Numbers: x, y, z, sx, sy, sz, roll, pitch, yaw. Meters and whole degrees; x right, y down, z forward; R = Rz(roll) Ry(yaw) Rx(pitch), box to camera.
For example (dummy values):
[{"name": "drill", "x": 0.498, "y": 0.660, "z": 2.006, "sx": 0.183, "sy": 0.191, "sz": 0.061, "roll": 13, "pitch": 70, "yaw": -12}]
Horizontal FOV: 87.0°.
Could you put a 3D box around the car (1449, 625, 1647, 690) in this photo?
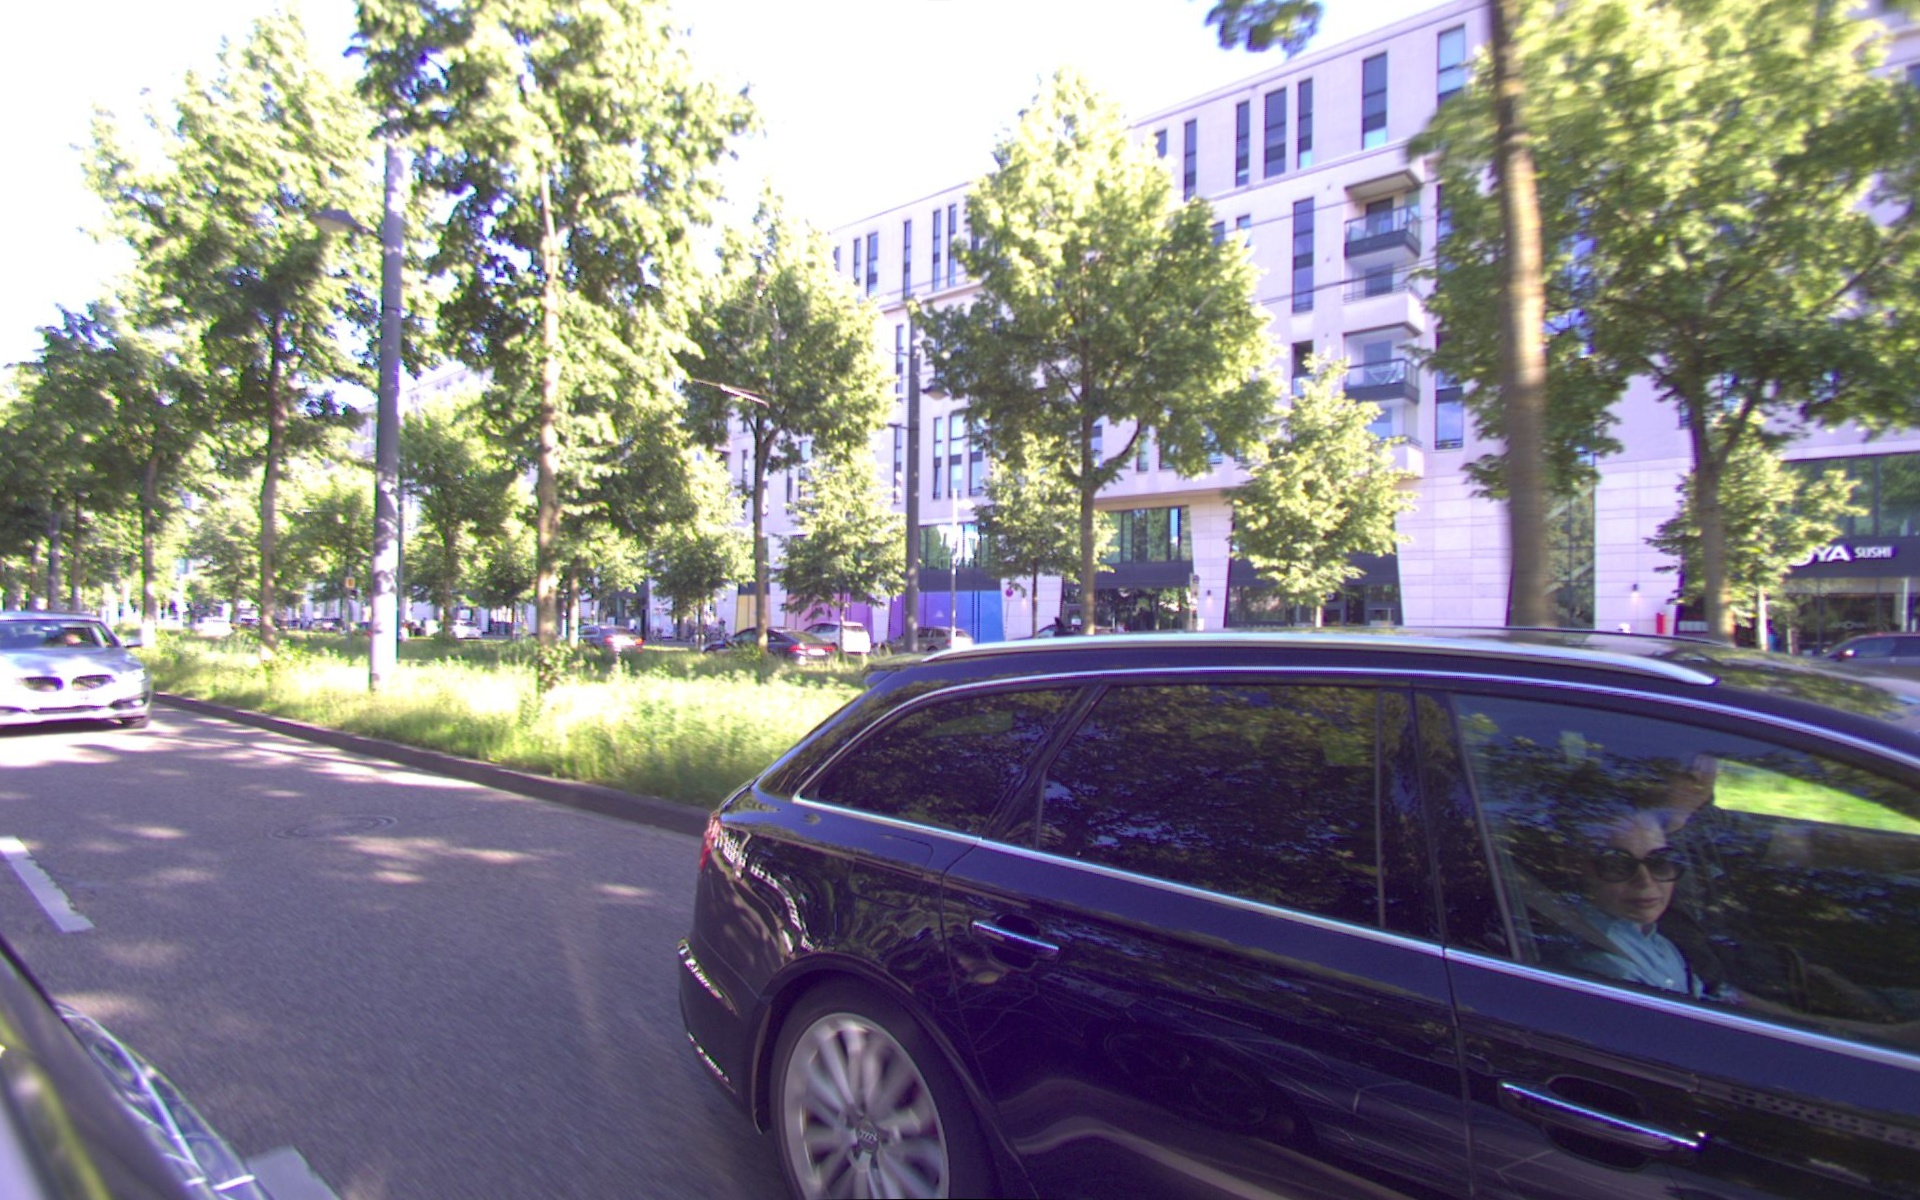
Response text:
[{"name": "car", "x": 15.504, "y": 1.452, "z": 26.813, "sx": 4.264, "sy": 1.452, "sz": 1.937, "roll": 0, "pitch": 0, "yaw": 42}]

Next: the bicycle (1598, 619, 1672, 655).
[{"name": "bicycle", "x": 20.071, "y": 1.080, "z": 30.113, "sx": 1.800, "sy": 1.024, "sz": 0.375, "roll": 0, "pitch": 0, "yaw": 43}]

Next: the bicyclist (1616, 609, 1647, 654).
[{"name": "bicyclist", "x": 20.020, "y": 0.944, "z": 30.159, "sx": 0.719, "sy": 1.313, "sz": 0.364, "roll": 0, "pitch": 0, "yaw": 43}]

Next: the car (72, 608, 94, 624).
[{"name": "car", "x": -118.583, "y": 2.190, "z": 136.812, "sx": 4.001, "sy": 2.029, "sz": 1.971, "roll": 0, "pitch": 0, "yaw": 44}]

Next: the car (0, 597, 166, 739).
[{"name": "car", "x": -12.011, "y": 0.762, "z": 13.211, "sx": 4.276, "sy": 1.590, "sz": 1.862, "roll": 0, "pitch": 0, "yaw": 42}]

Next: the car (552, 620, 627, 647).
[{"name": "car", "x": -22.089, "y": 1.986, "z": 60.316, "sx": 4.920, "sy": 1.452, "sz": 1.974, "roll": 0, "pitch": 0, "yaw": 39}]

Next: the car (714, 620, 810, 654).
[{"name": "car", "x": -9.634, "y": 1.746, "z": 49.003, "sx": 4.774, "sy": 1.452, "sz": 1.974, "roll": 0, "pitch": 0, "yaw": 39}]

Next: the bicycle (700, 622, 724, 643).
[{"name": "bicycle", "x": -15.664, "y": 2.045, "z": 63.871, "sx": 1.607, "sy": 1.290, "sz": 0.592, "roll": 0, "pitch": 0, "yaw": 39}]

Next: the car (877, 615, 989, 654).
[{"name": "car", "x": -1.149, "y": 1.392, "z": 41.838, "sx": 4.451, "sy": 1.452, "sz": 1.974, "roll": 0, "pitch": 0, "yaw": 39}]

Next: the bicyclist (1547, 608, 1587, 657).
[{"name": "bicyclist", "x": 18.289, "y": 0.974, "z": 30.498, "sx": 0.956, "sy": 1.429, "sz": 0.425, "roll": 0, "pitch": 0, "yaw": 43}]

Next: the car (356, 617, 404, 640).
[{"name": "car", "x": -47.243, "y": 2.272, "z": 82.464, "sx": 4.334, "sy": 1.742, "sz": 1.974, "roll": 0, "pitch": 0, "yaw": 39}]

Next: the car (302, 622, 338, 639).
[{"name": "car", "x": -56.905, "y": 2.707, "z": 89.953, "sx": 4.268, "sy": 1.491, "sz": 1.542, "roll": -1, "pitch": -1, "yaw": 41}]

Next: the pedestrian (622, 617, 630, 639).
[{"name": "pedestrian", "x": -24.224, "y": 2.017, "z": 73.411, "sx": 0.494, "sy": 1.561, "sz": 0.522, "roll": 0, "pitch": 0, "yaw": -7}]

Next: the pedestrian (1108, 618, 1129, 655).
[{"name": "pedestrian", "x": 7.297, "y": 1.653, "z": 46.625, "sx": 0.719, "sy": 1.663, "sz": 0.629, "roll": 0, "pitch": 0, "yaw": 39}]

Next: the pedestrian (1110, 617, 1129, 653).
[{"name": "pedestrian", "x": 7.488, "y": 1.647, "z": 47.524, "sx": 0.718, "sy": 1.663, "sz": 0.630, "roll": 0, "pitch": 0, "yaw": 34}]

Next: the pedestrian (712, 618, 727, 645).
[{"name": "pedestrian", "x": -15.516, "y": 2.030, "z": 65.292, "sx": 0.719, "sy": 1.663, "sz": 0.629, "roll": 0, "pitch": 0, "yaw": 39}]

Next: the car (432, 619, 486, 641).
[{"name": "car", "x": -35.694, "y": 2.124, "z": 72.052, "sx": 4.015, "sy": 1.452, "sz": 1.974, "roll": 0, "pitch": 0, "yaw": 39}]

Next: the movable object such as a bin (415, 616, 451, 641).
[{"name": "movable object such as a bin", "x": -38.660, "y": 2.078, "z": 74.251, "sx": 1.554, "sy": 1.808, "sz": 1.951, "roll": 0, "pitch": 0, "yaw": 39}]

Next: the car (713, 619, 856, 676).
[{"name": "car", "x": -5.286, "y": 1.345, "z": 30.156, "sx": 4.457, "sy": 1.452, "sz": 1.971, "roll": 0, "pitch": 0, "yaw": 44}]

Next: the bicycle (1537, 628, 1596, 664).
[{"name": "bicycle", "x": 18.279, "y": 1.364, "z": 30.508, "sx": 1.484, "sy": 1.024, "sz": 0.425, "roll": 0, "pitch": 0, "yaw": 43}]

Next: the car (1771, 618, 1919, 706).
[{"name": "car", "x": 20.913, "y": 1.347, "z": 22.271, "sx": 4.771, "sy": 1.785, "sz": 1.974, "roll": 0, "pitch": 0, "yaw": 39}]

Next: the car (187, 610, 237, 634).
[{"name": "car", "x": -56.294, "y": 1.646, "z": 76.096, "sx": 5.108, "sy": 1.698, "sz": 1.973, "roll": 0, "pitch": 0, "yaw": 41}]

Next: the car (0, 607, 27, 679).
[{"name": "car", "x": -22.930, "y": 0.964, "z": 23.269, "sx": 4.001, "sy": 1.534, "sz": 1.925, "roll": 0, "pitch": 0, "yaw": 43}]

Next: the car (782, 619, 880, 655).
[{"name": "car", "x": -5.873, "y": 1.629, "z": 45.855, "sx": 4.454, "sy": 1.452, "sz": 1.973, "roll": 0, "pitch": 0, "yaw": 41}]

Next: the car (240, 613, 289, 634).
[{"name": "car", "x": -53.687, "y": 1.774, "z": 78.077, "sx": 5.109, "sy": 1.452, "sz": 1.972, "roll": 0, "pitch": 0, "yaw": 42}]

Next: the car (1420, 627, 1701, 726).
[{"name": "car", "x": 11.302, "y": 1.343, "z": 19.201, "sx": 4.317, "sy": 1.539, "sz": 1.973, "roll": 0, "pitch": 0, "yaw": 41}]

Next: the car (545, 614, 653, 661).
[{"name": "car", "x": -15.152, "y": 1.524, "z": 42.302, "sx": 5.248, "sy": 1.855, "sz": 1.972, "roll": -1, "pitch": -2, "yaw": 42}]

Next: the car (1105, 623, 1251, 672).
[{"name": "car", "x": 7.330, "y": 1.548, "z": 34.300, "sx": 4.451, "sy": 1.452, "sz": 1.974, "roll": 0, "pitch": 0, "yaw": 39}]

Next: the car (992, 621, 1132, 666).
[{"name": "car", "x": 3.752, "y": 1.585, "z": 37.731, "sx": 4.931, "sy": 1.452, "sz": 1.974, "roll": 0, "pitch": 0, "yaw": 39}]
